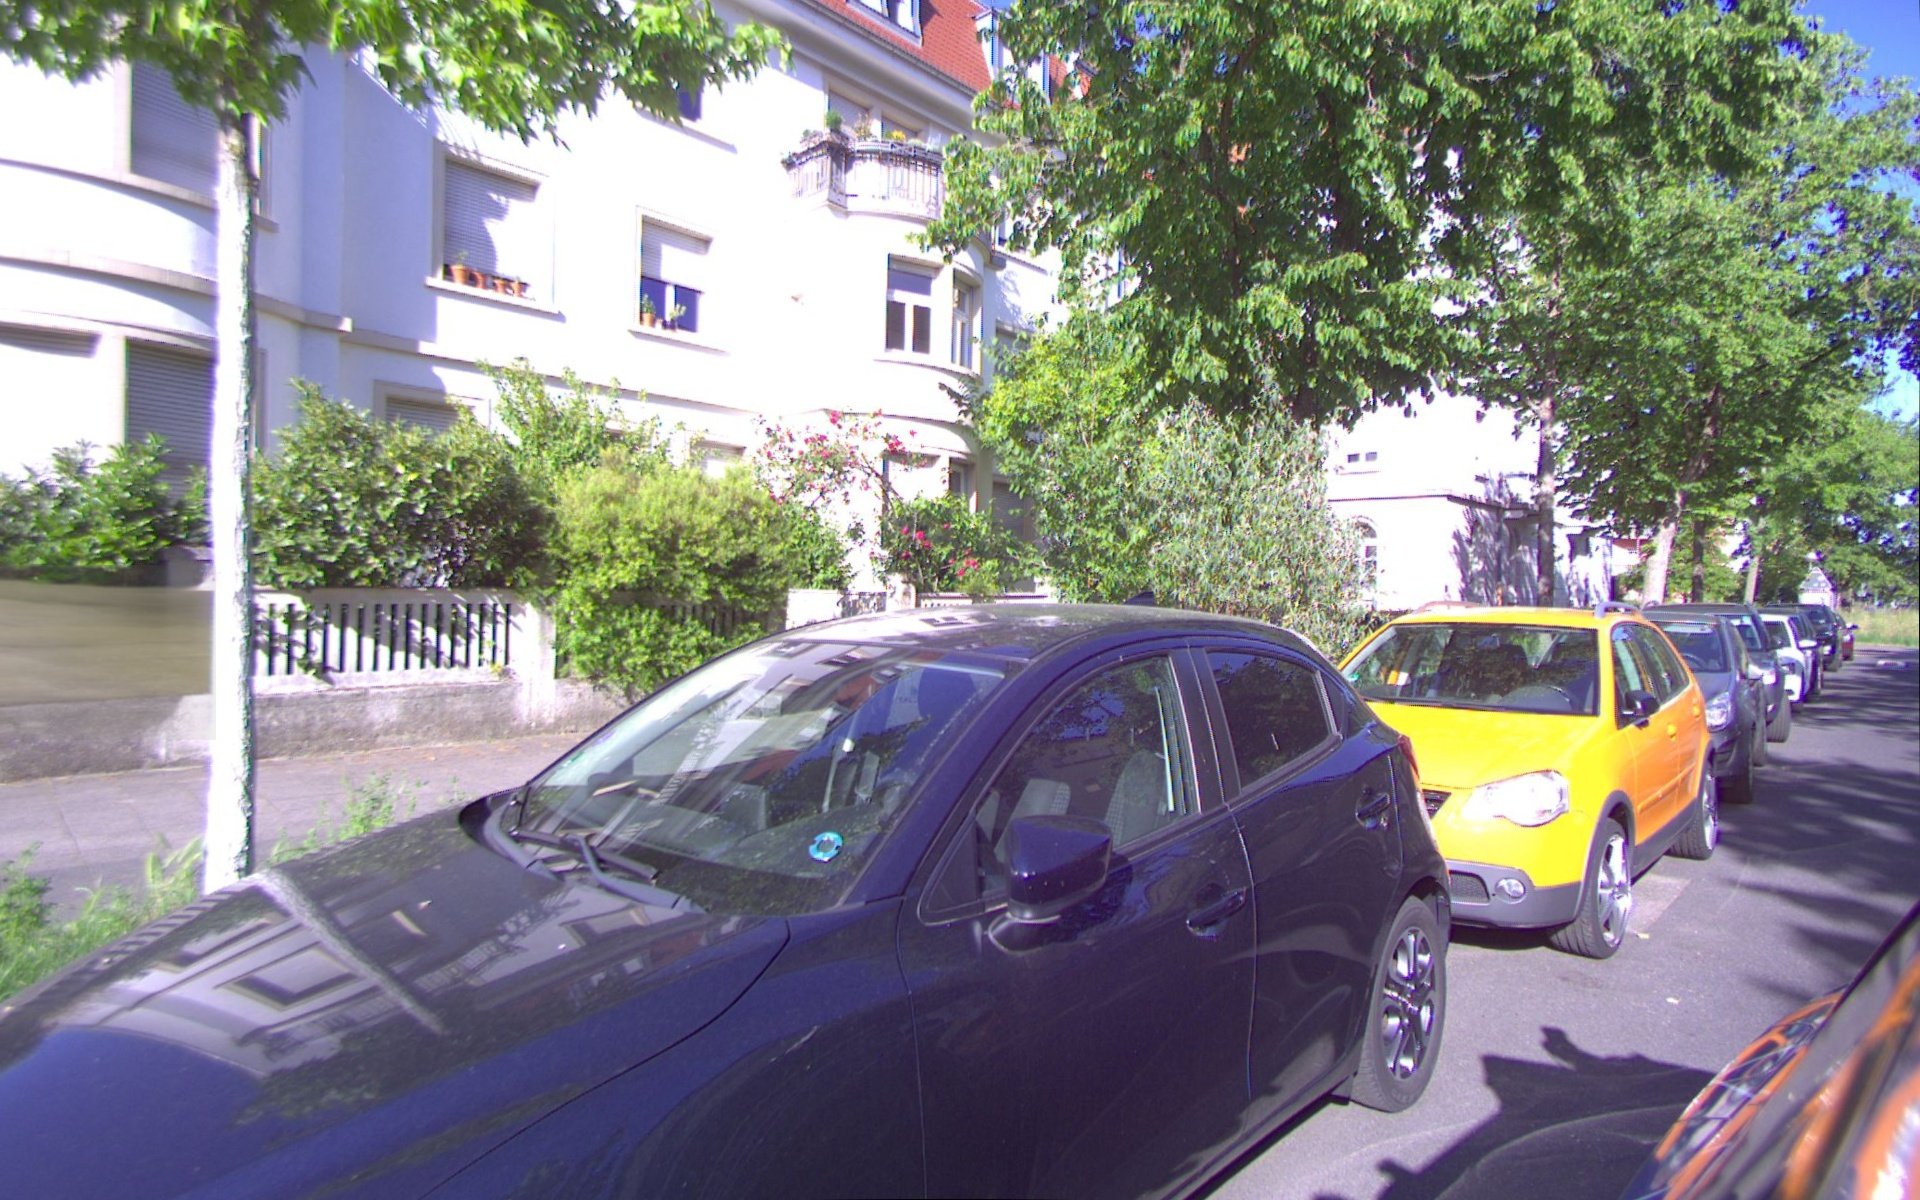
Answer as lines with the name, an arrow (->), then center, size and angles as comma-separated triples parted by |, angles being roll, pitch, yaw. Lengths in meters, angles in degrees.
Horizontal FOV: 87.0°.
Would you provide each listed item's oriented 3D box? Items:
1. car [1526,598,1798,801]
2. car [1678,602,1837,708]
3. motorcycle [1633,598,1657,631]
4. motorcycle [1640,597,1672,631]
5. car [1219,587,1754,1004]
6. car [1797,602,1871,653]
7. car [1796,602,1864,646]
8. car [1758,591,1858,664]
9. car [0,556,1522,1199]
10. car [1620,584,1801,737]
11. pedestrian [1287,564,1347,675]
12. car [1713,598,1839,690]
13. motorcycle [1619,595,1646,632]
car -> 6.603, 0.739, 9.368 | 1.648, 1.446, 3.558 | 3, 2, 41
car -> 13.070, 0.788, 16.483 | 1.630, 1.442, 4.299 | 3, 2, 43
motorcycle -> 27.518, 0.569, 40.638 | 0.655, 1.295, 1.776 | 4, 2, 37
motorcycle -> 28.835, 0.562, 41.925 | 0.969, 1.345, 1.827 | 1, 1, 38
car -> 3.212, 0.713, 5.716 | 1.637, 1.473, 4.035 | 2, 1, 43
car -> 27.159, 0.807, 31.552 | 1.609, 1.427, 4.289 | 2, 1, 39
car -> 30.267, 0.794, 35.171 | 1.652, 1.419, 4.071 | 2, 1, 43
car -> 22.286, 0.670, 26.546 | 1.781, 1.719, 4.231 | 2, 1, 43
car -> -0.071, 0.688, 2.644 | 1.701, 1.467, 4.017 | 3, 2, 44
car -> 9.880, 0.671, 13.212 | 1.647, 1.676, 3.791 | 1, 1, 40
pedestrian -> 5.970, 0.311, 16.915 | 0.622, 1.797, 0.787 | 3, 1, 44
car -> 16.081, 0.783, 19.865 | 1.683, 1.608, 4.466 | -1, -1, 42
motorcycle -> 25.906, 0.514, 38.965 | 0.539, 1.378, 2.056 | 1, 1, 43
